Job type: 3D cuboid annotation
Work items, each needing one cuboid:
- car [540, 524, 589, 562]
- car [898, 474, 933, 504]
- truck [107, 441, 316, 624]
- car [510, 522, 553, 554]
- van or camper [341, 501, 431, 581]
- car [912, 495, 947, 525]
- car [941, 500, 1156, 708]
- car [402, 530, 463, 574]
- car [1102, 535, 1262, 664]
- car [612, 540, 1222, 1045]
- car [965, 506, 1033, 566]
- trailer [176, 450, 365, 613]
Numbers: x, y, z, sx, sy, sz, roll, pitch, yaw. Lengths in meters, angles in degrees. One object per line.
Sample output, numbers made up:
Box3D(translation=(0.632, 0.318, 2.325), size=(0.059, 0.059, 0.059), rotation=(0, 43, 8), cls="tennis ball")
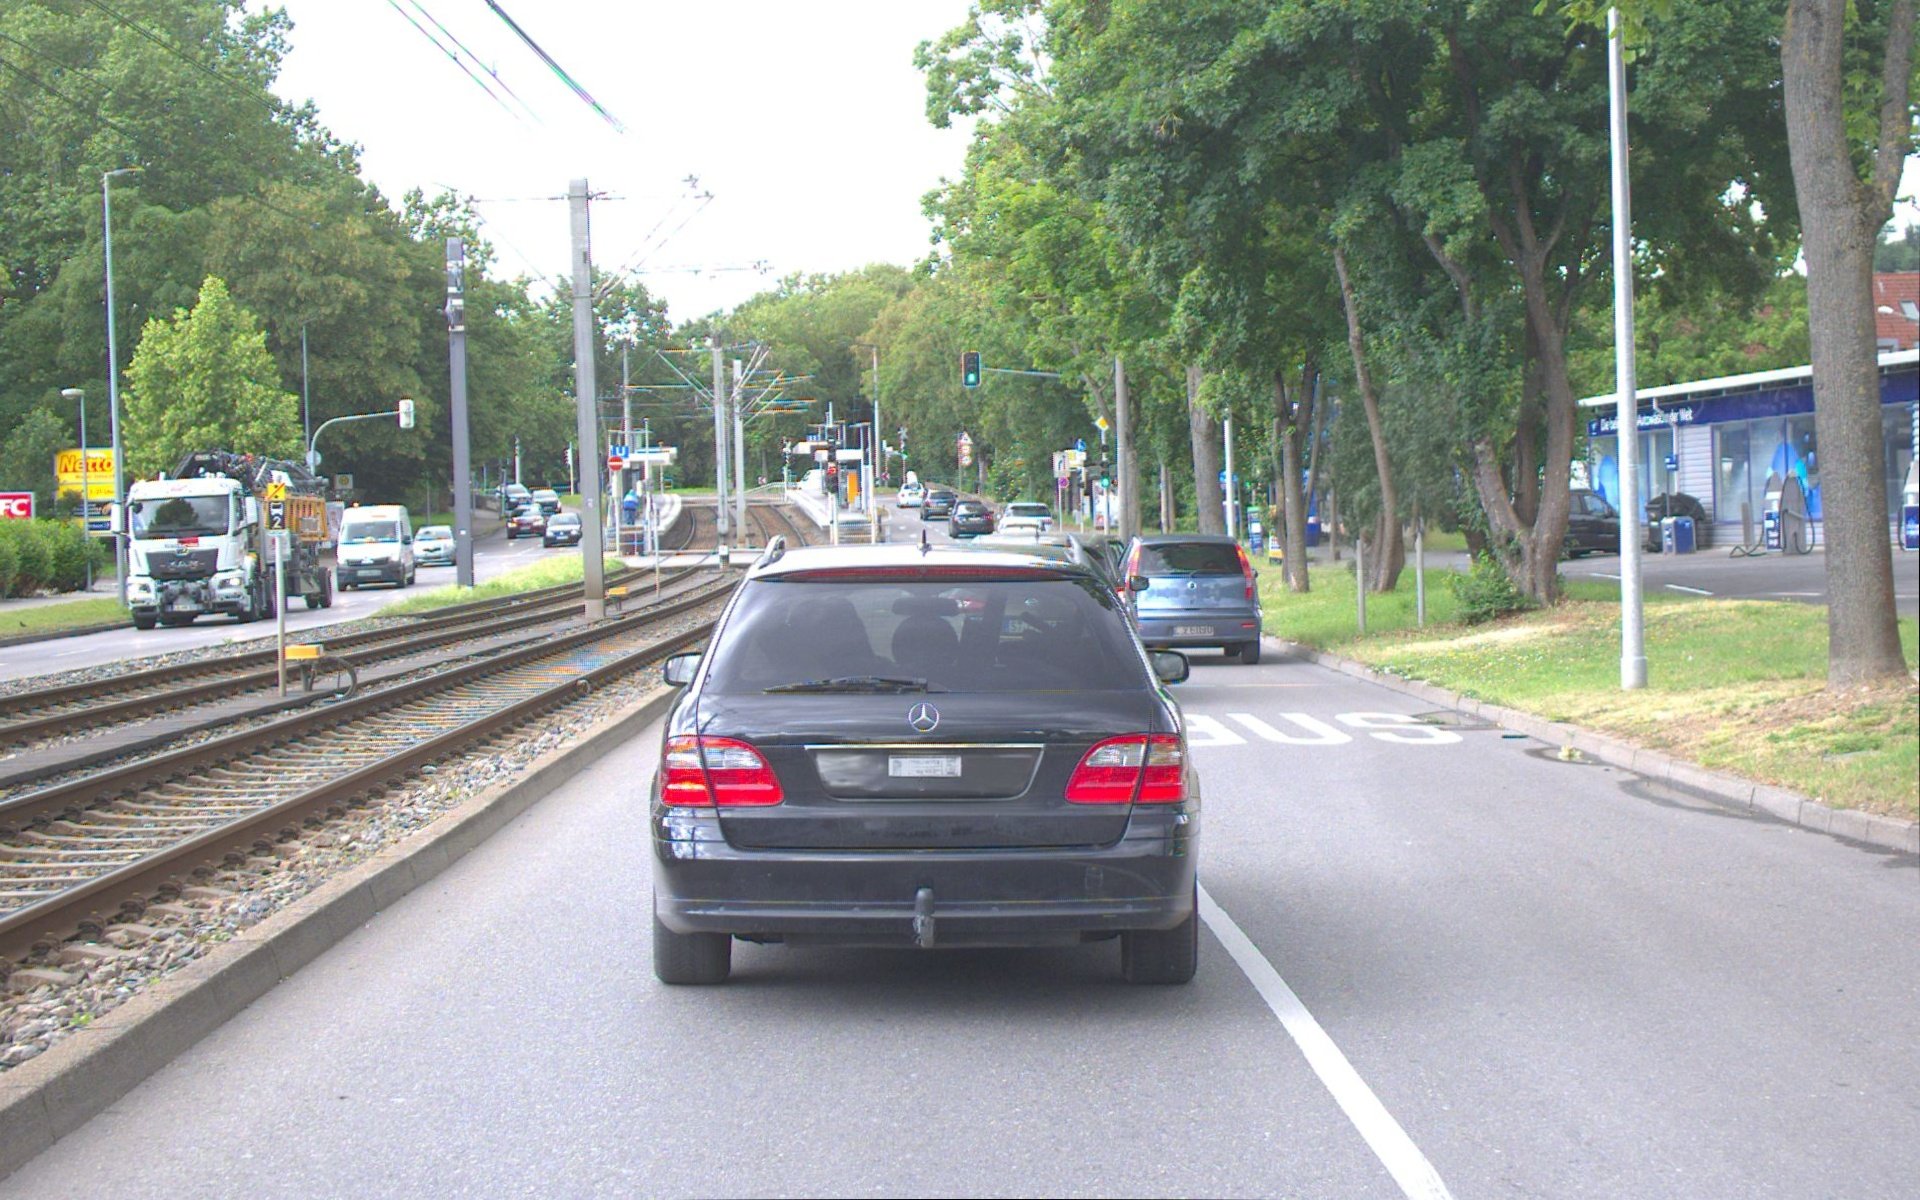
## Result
Box3D(translation=(-17.537, -2.539, 152.578), size=(1.765, 1.641, 3.771), rotation=(0, 1, 0), cls="car")
Box3D(translation=(-2.646, -6.596, 204.961), size=(1.993, 1.708, 4.000), rotation=(-1, 1, -1), cls="car")
Box3D(translation=(-16.323, -1.506, 75.751), size=(2.706, 3.651, 11.114), rotation=(-2, 1, -3), cls="truck")
Box3D(translation=(-21.859, -3.156, 175.525), size=(1.765, 1.641, 3.771), rotation=(0, 1, 0), cls="car")
Box3D(translation=(-17.690, -1.833, 106.166), size=(1.993, 2.346, 5.767), rotation=(-2, 1, -2), cls="van or camper")
Box3D(translation=(-1.623, -4.770, 182.080), size=(1.666, 1.527, 3.771), rotation=(0, 1, -4), cls="car")
Box3D(translation=(0.741, 0.004, 31.035), size=(1.780, 1.744, 3.718), rotation=(1, 1, -1), cls="car")
Box3D(translation=(-20.043, -1.838, 130.730), size=(1.765, 1.641, 3.771), rotation=(0, 1, 0), cls="car")
Box3D(translation=(2.517, -0.029, 39.533), size=(1.571, 1.410, 3.354), rotation=(1, 1, -1), cls="car")
Box3D(translation=(-0.146, 0.539, 12.151), size=(1.808, 1.469, 3.881), rotation=(0, 1, -1), cls="car")
Box3D(translation=(1.190, -1.978, 106.920), size=(1.993, 1.831, 4.000), rotation=(0, 1, -1), cls="car")
Box3D(translation=(-16.913, -1.723, 85.275), size=(2.704, 3.648, 13.301), rotation=(-2, 1, -4), cls="trailer")
